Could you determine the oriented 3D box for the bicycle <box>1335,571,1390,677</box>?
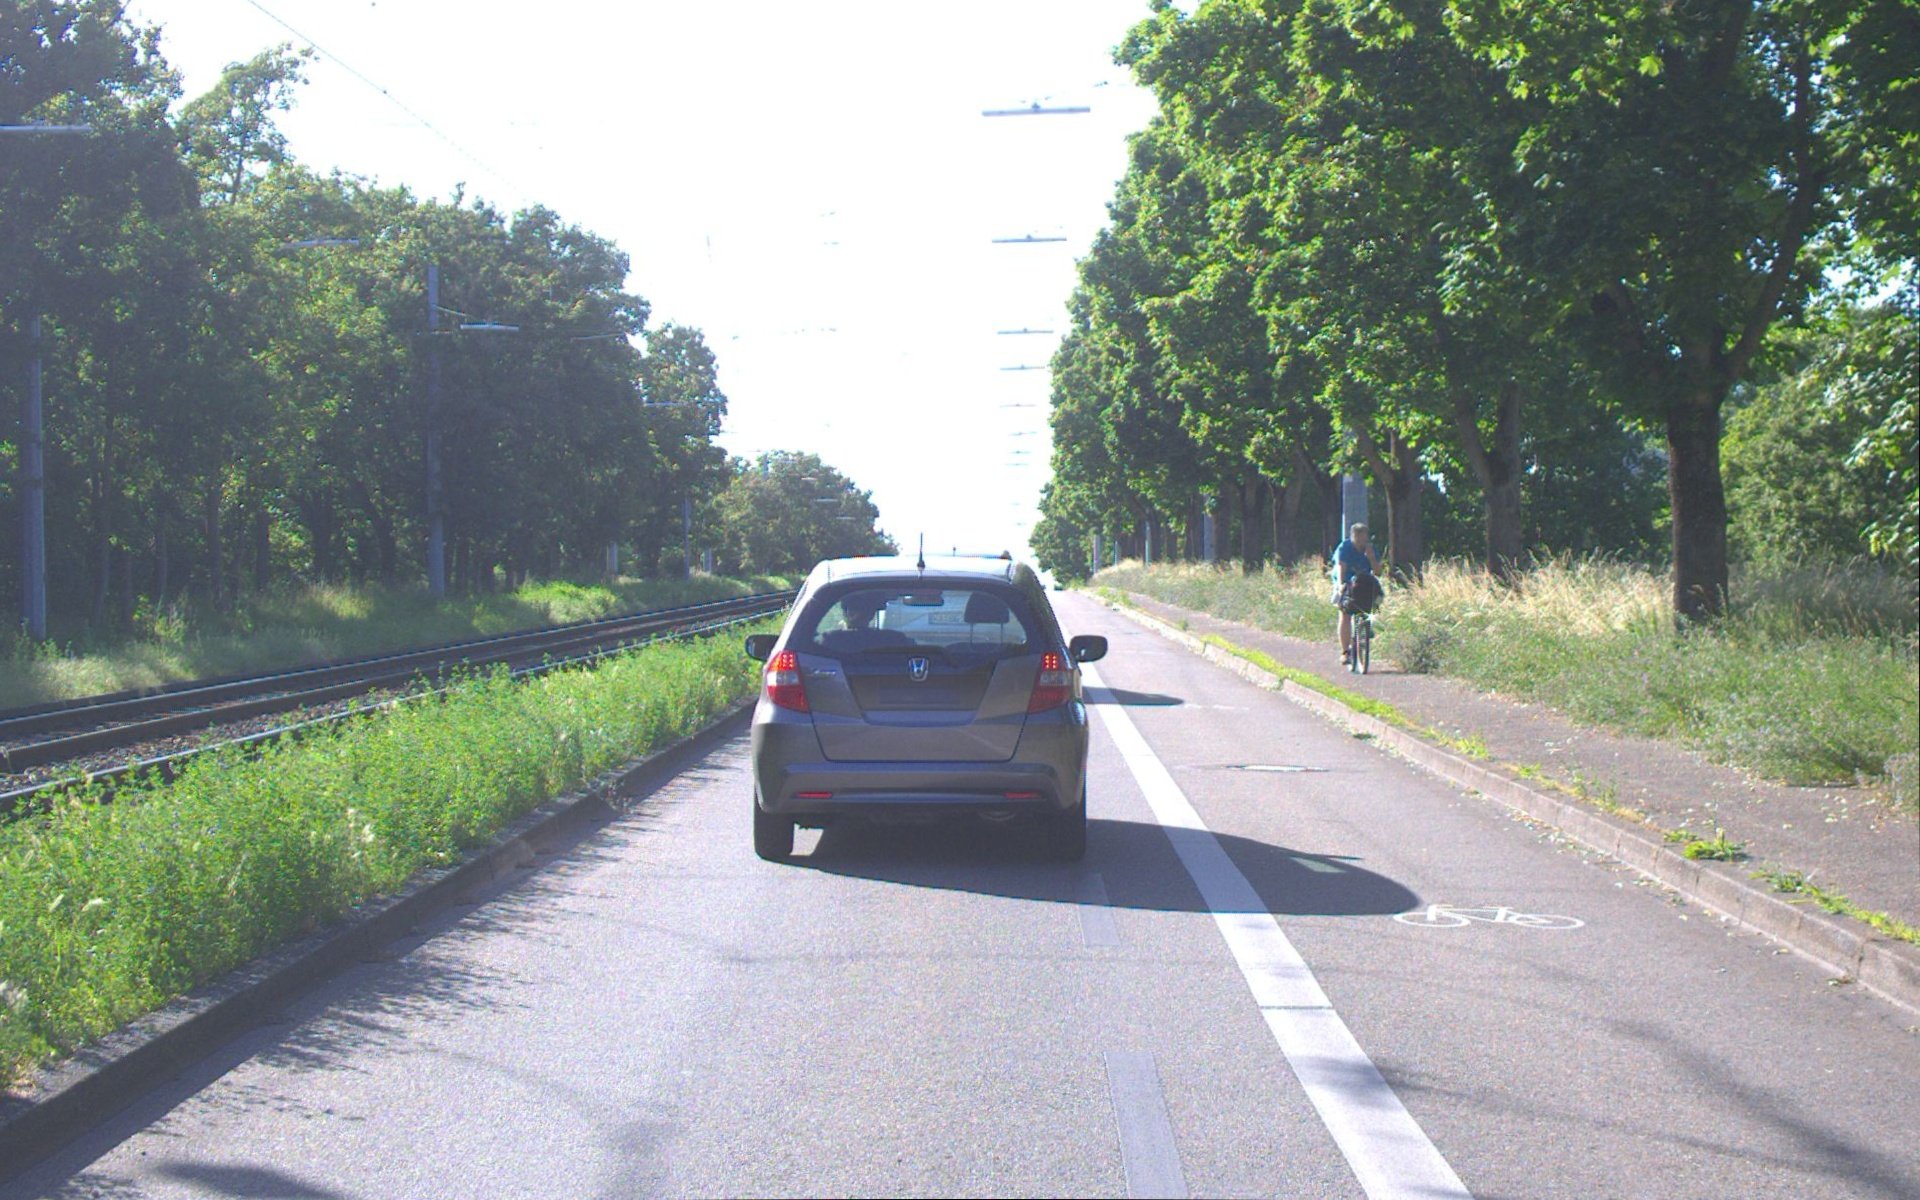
[{"bbox_3d":[4.658,0.263,39.858,0.418,1.184,1.721,-1,1,0],"label":"bicycle"}]

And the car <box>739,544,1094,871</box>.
[{"bbox_3d":[-0.218,0.486,18.318,1.670,1.510,3.674,1,1,0],"label":"car"}]

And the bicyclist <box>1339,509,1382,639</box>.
[{"bbox_3d":[4.681,-0.303,40.196,0.405,1.501,0.574,-1,1,0],"label":"bicyclist"}]

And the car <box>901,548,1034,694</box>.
[{"bbox_3d":[0.108,0.232,38.098,1.351,1.522,3.123,-1,0,2],"label":"car"}]
